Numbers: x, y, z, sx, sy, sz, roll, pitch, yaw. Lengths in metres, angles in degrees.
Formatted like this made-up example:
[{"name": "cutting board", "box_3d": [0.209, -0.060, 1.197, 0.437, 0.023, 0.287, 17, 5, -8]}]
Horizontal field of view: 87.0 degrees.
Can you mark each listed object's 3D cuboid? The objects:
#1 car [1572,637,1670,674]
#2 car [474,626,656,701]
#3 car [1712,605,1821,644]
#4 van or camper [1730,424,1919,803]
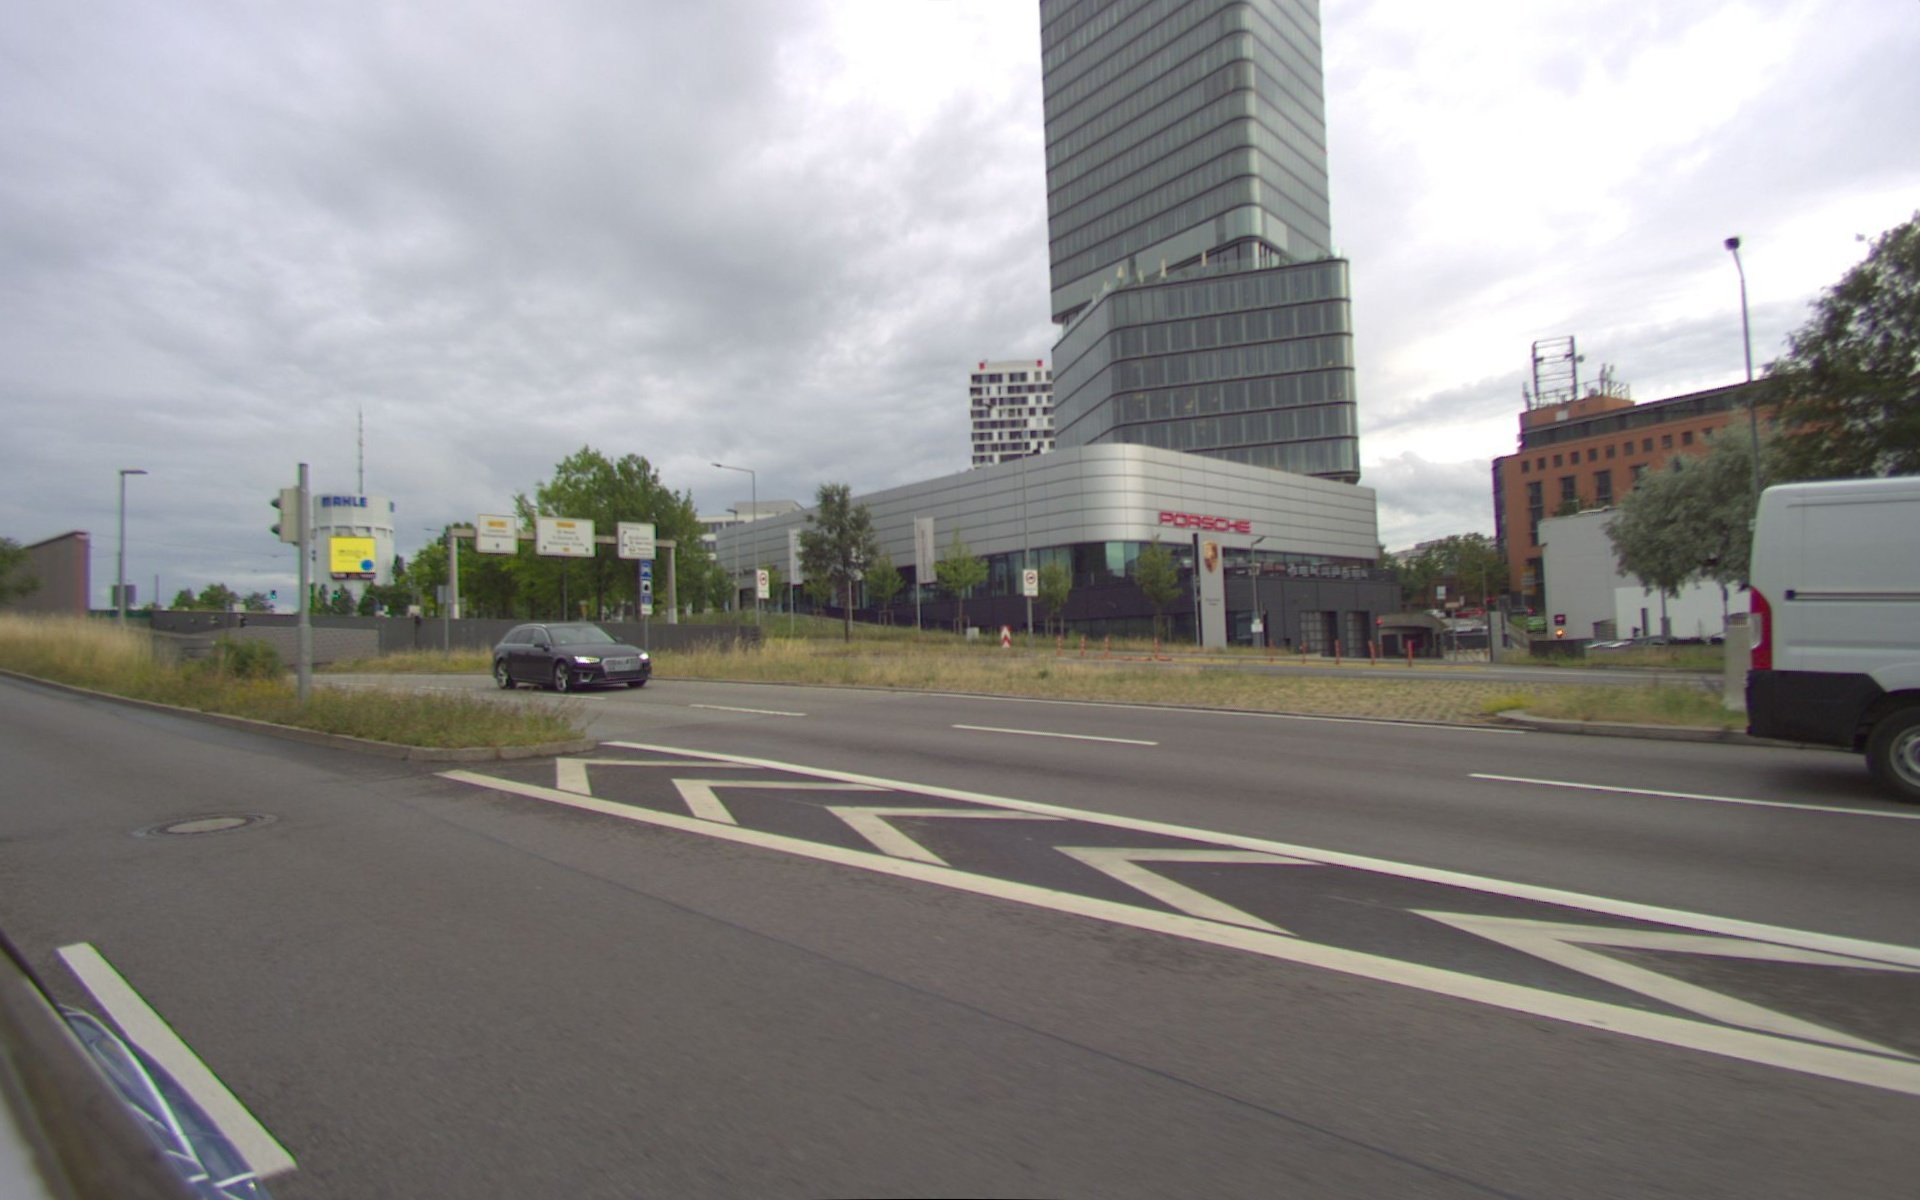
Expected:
[{"name": "car", "box_3d": [36.025, 3.032, 55.233, 3.942, 1.696, 2.001, -4, -2, -2]}, {"name": "car", "box_3d": [-8.543, 1.351, 21.693, 4.631, 1.430, 1.790, -4, -3, 43]}, {"name": "car", "box_3d": [42.071, 1.274, 52.856, 3.942, 1.719, 2.001, -4, -2, -2]}, {"name": "van or camper", "box_3d": [8.267, 0.061, 6.081, 5.533, 2.457, 2.178, -2, -2, 45]}]
